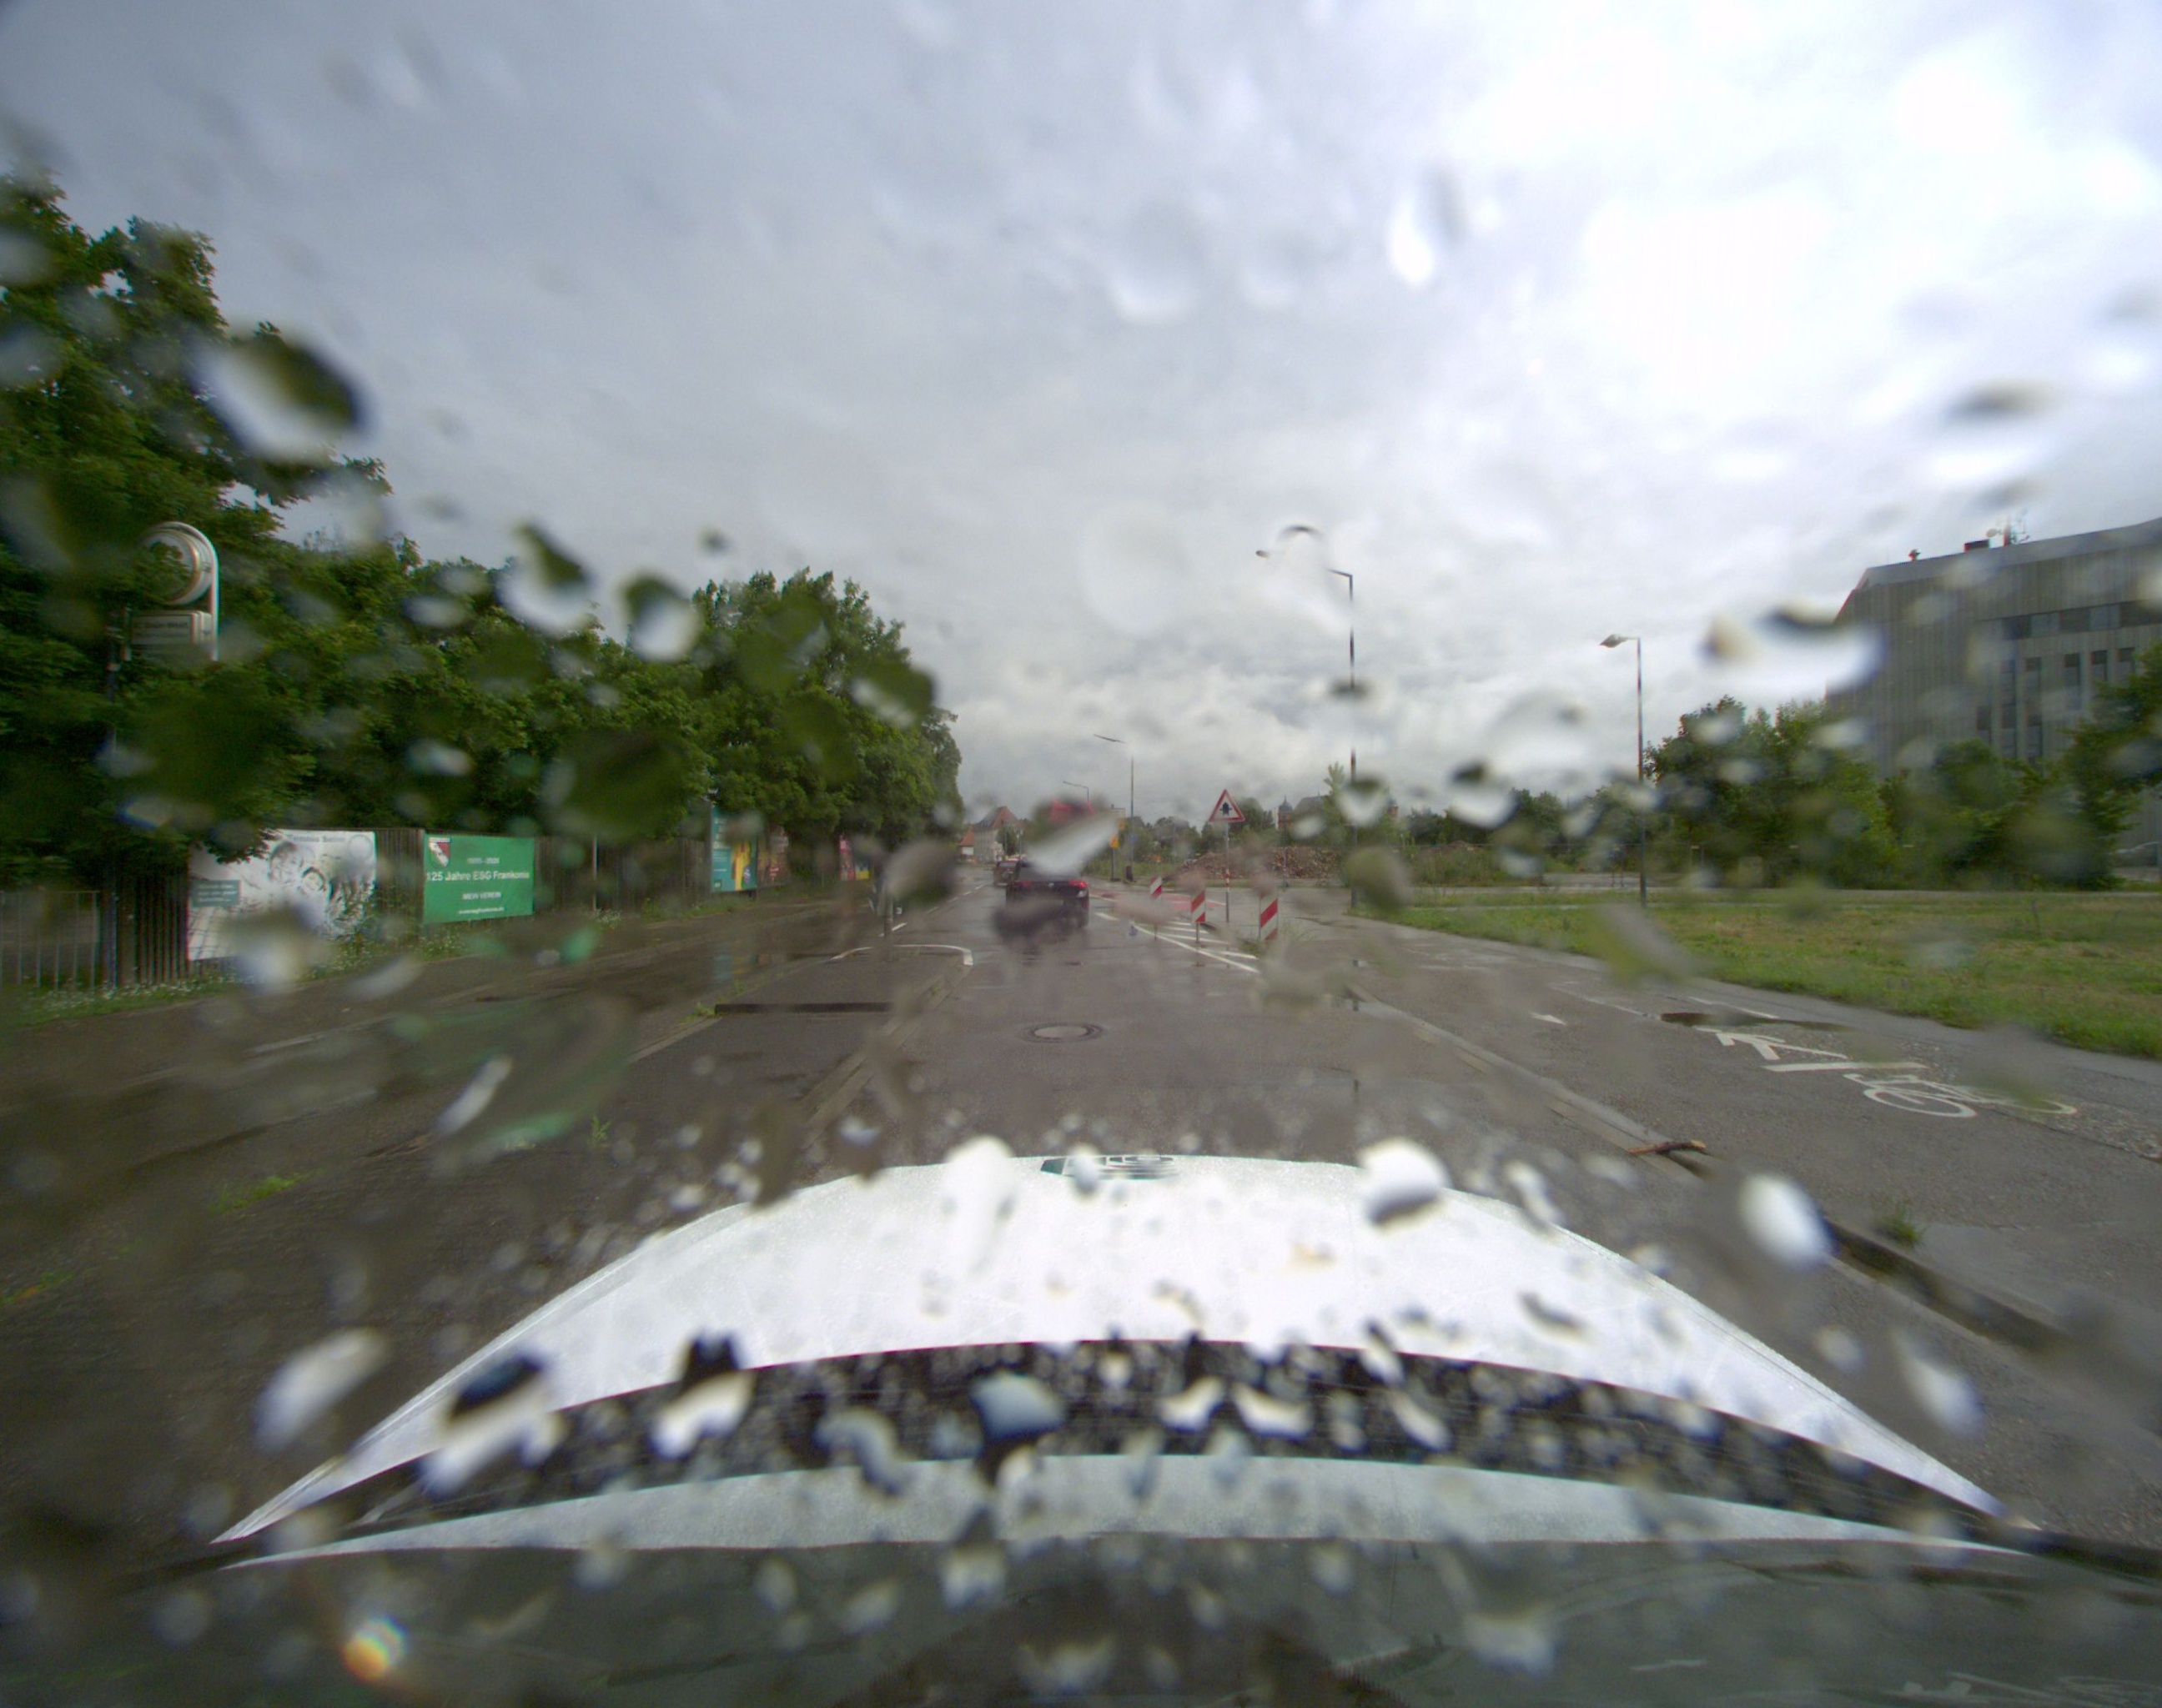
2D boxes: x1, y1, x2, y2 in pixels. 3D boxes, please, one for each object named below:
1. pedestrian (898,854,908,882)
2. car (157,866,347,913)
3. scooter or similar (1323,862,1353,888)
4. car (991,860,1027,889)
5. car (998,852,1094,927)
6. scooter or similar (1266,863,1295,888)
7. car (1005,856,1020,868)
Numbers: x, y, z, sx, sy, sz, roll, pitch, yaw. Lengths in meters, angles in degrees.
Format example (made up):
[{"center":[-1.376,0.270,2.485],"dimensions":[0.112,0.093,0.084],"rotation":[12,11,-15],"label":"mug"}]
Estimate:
[{"center":[-10.931,0.862,50.038],"dimensions":[0.523,1.701,0.565],"rotation":[2,1,-5],"label":"pedestrian"},{"center":[-27.657,1.125,27.437],"dimensions":[1.990,1.418,4.536],"rotation":[-1,-1,-5],"label":"car"},{"center":[12.770,1.045,40.441],"dimensions":[1.268,1.187,0.506],"rotation":[3,1,36],"label":"scooter or similar"},{"center":[-3.991,1.142,45.581],"dimensions":[1.838,1.442,3.994],"rotation":[-3,-1,-4],"label":"car"},{"center":[-0.930,0.777,19.321],"dimensions":[1.984,1.520,3.992],"rotation":[-2,-1,-6],"label":"car"},{"center":[10.118,1.095,41.362],"dimensions":[1.268,1.187,0.506],"rotation":[3,1,36],"label":"scooter or similar"},{"center":[-9.520,1.092,113.334],"dimensions":[1.993,1.703,4.008],"rotation":[-1,-1,-5],"label":"car"}]
